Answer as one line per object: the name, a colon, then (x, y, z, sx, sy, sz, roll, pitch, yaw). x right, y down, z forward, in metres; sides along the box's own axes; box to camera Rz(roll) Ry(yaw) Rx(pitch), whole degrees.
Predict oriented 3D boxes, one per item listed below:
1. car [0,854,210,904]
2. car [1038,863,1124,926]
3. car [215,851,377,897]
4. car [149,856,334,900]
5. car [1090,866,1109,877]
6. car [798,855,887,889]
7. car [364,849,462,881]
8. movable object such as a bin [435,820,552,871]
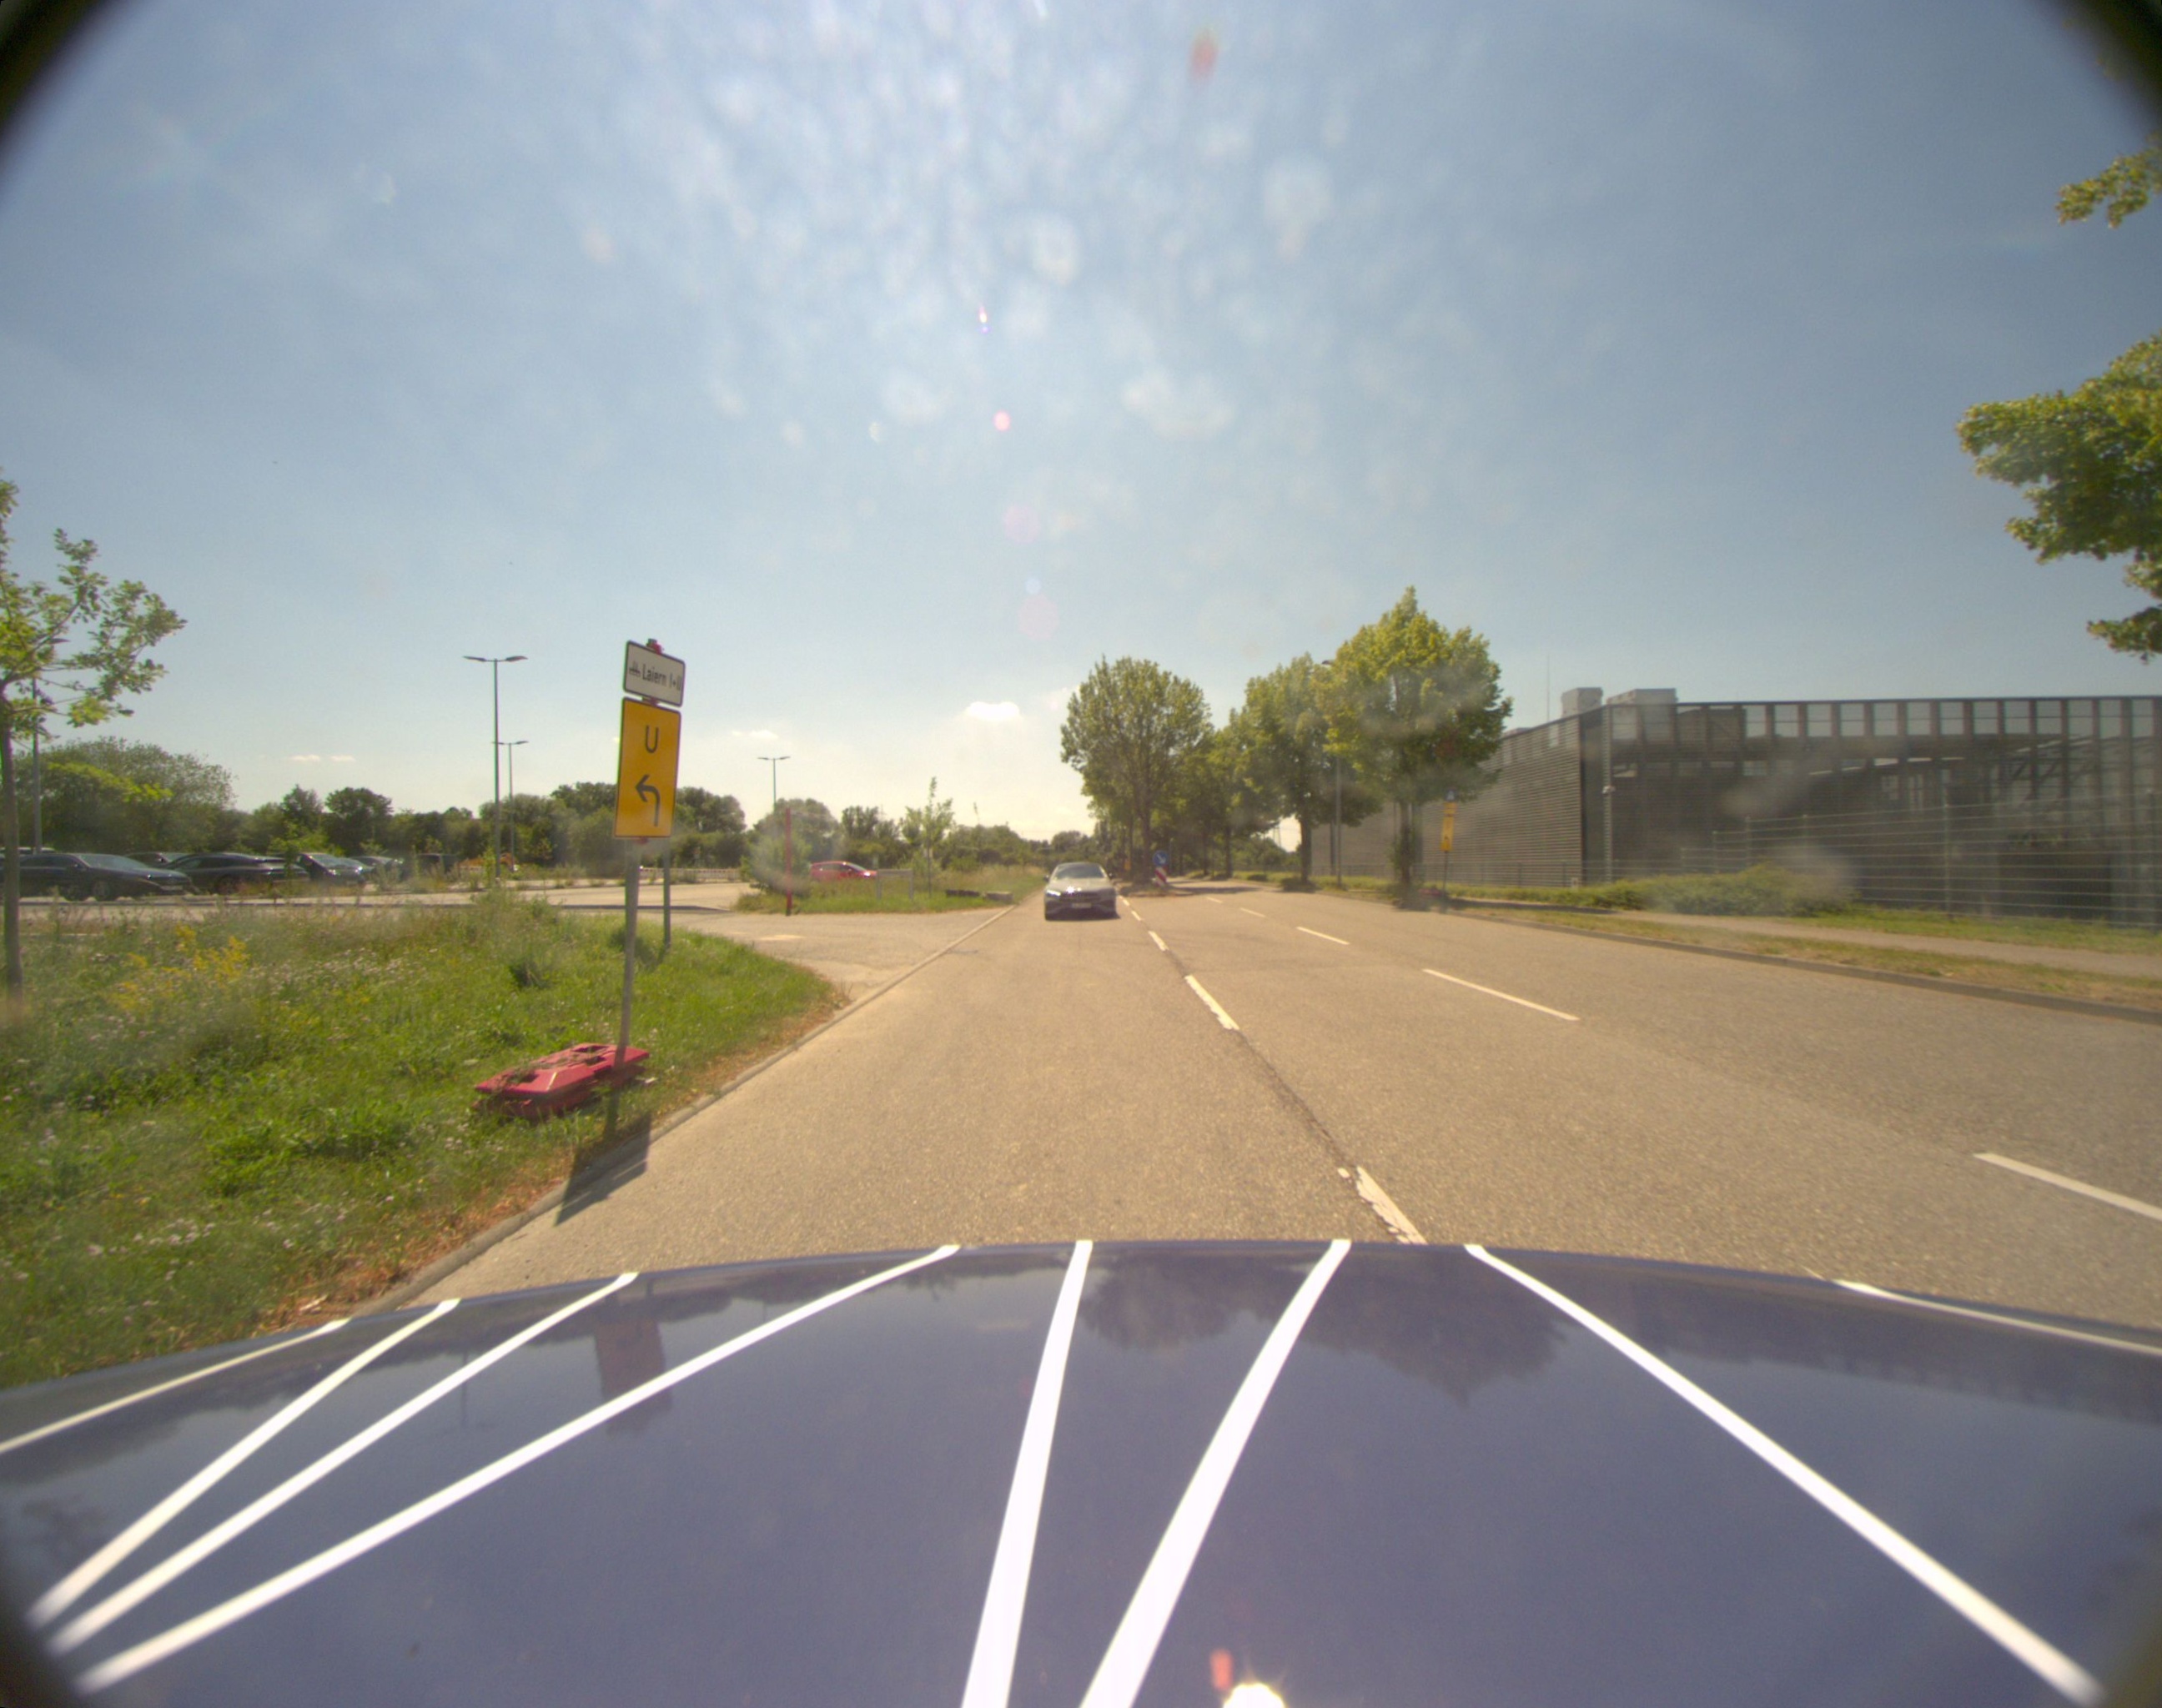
car: (-28.660, 0.710, 22.298, 3.997, 1.387, 1.927, 0, 0, 0)
car: (0.122, 1.029, 21.096, 1.921, 1.433, 4.484, -3, -1, 5)
car: (-29.014, 0.710, 28.183, 3.997, 1.631, 1.927, 0, 0, 0)
car: (-27.642, 0.770, 25.128, 3.997, 1.387, 1.927, 0, 0, 0)
car: (3.018, 2.881, 127.112, 2.001, 1.697, 3.860, -4, 0, -17)
car: (-12.337, 0.912, 39.443, 3.997, 1.713, 1.927, 0, 0, 0)
car: (-38.320, 0.650, 43.650, 3.998, 1.747, 1.758, 1, -1, -2)
movable object such as a bin: (-53.488, -0.677, 69.513, 8.122, 4.018, 2.981, 3, -4, -34)
